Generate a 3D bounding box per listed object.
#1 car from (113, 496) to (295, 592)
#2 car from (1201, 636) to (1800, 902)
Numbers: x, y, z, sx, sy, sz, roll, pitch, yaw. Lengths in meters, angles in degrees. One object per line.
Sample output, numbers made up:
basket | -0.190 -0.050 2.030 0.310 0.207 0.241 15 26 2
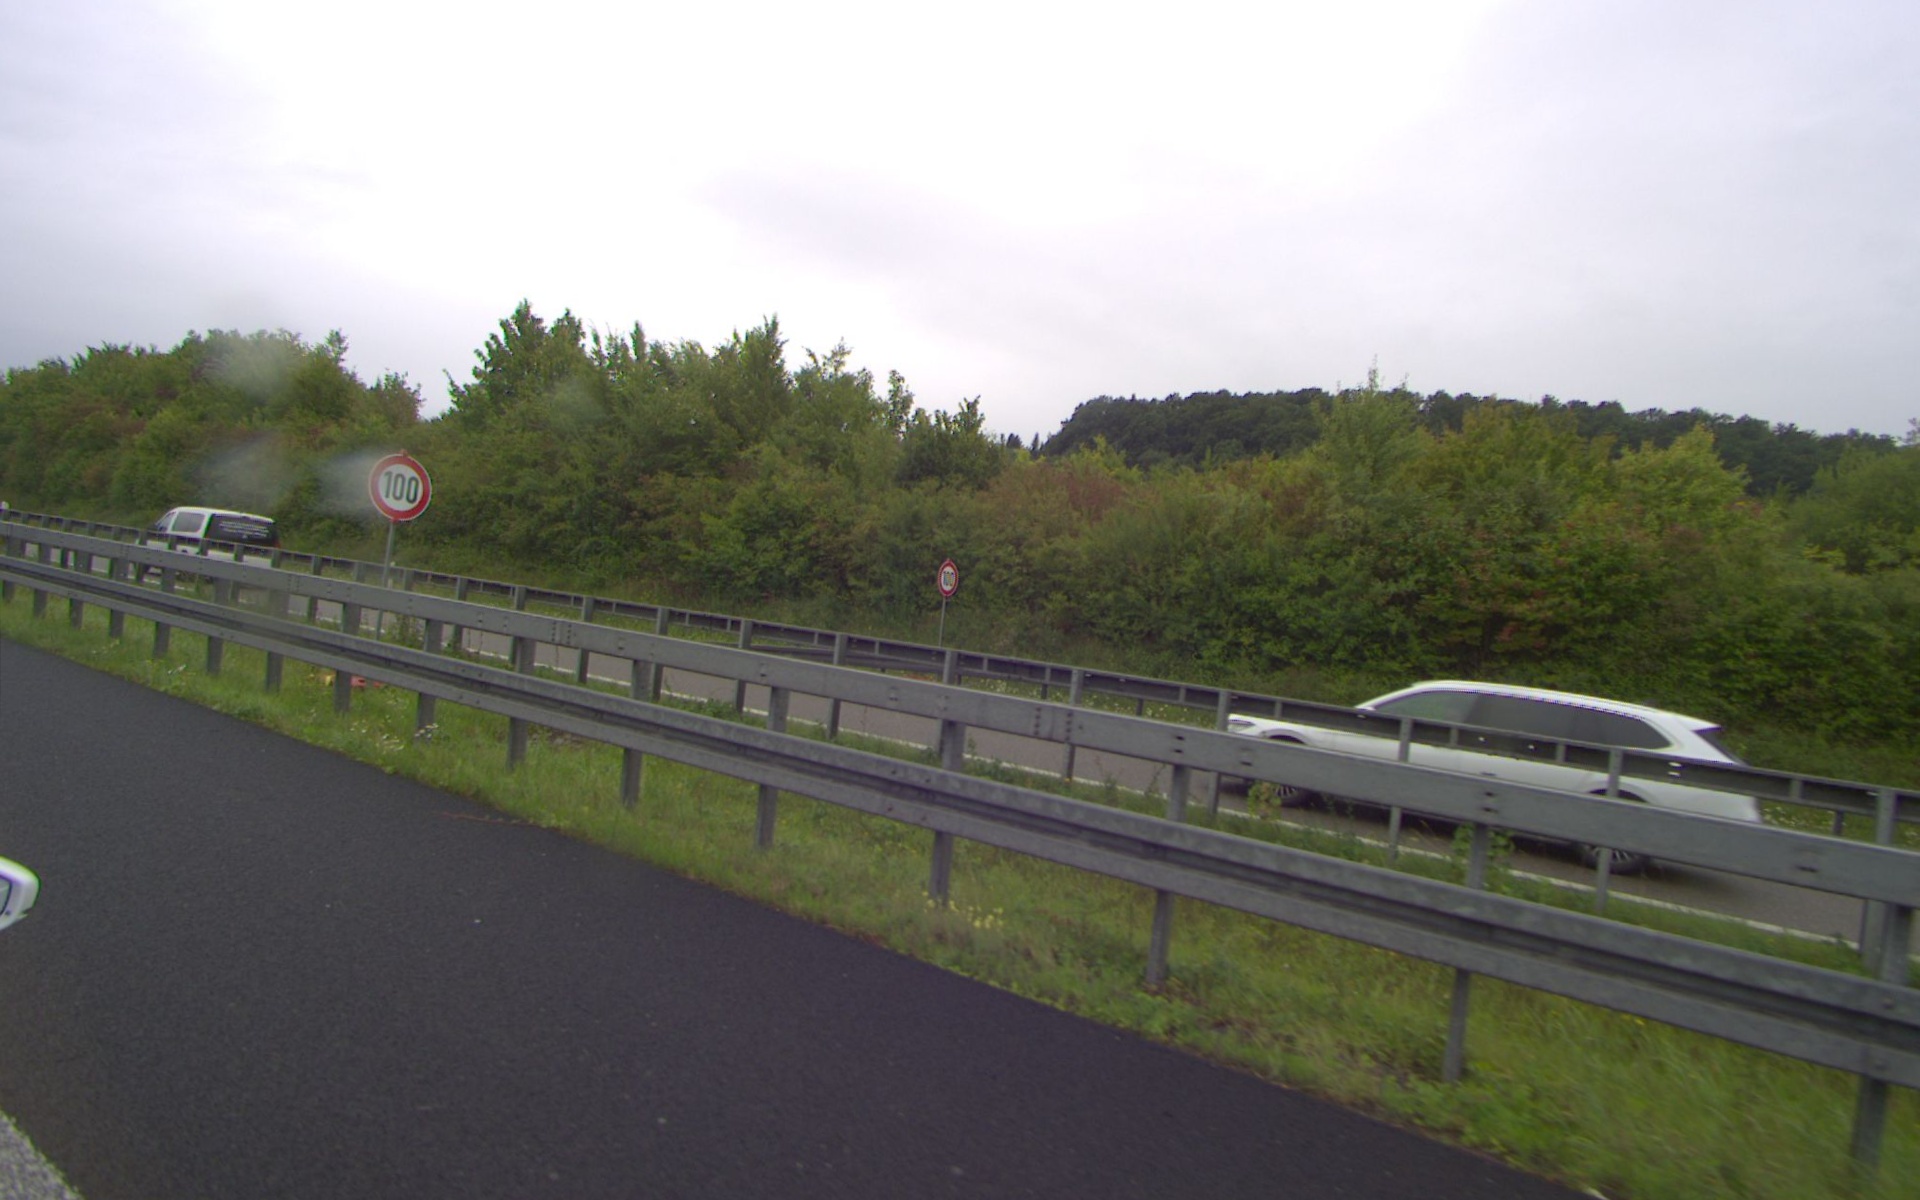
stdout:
car | -18.849 -1.415 25.032 4.569 1.826 1.863 7 -1 30
car | 5.020 1.455 9.947 4.616 1.566 2.012 7 -1 30
